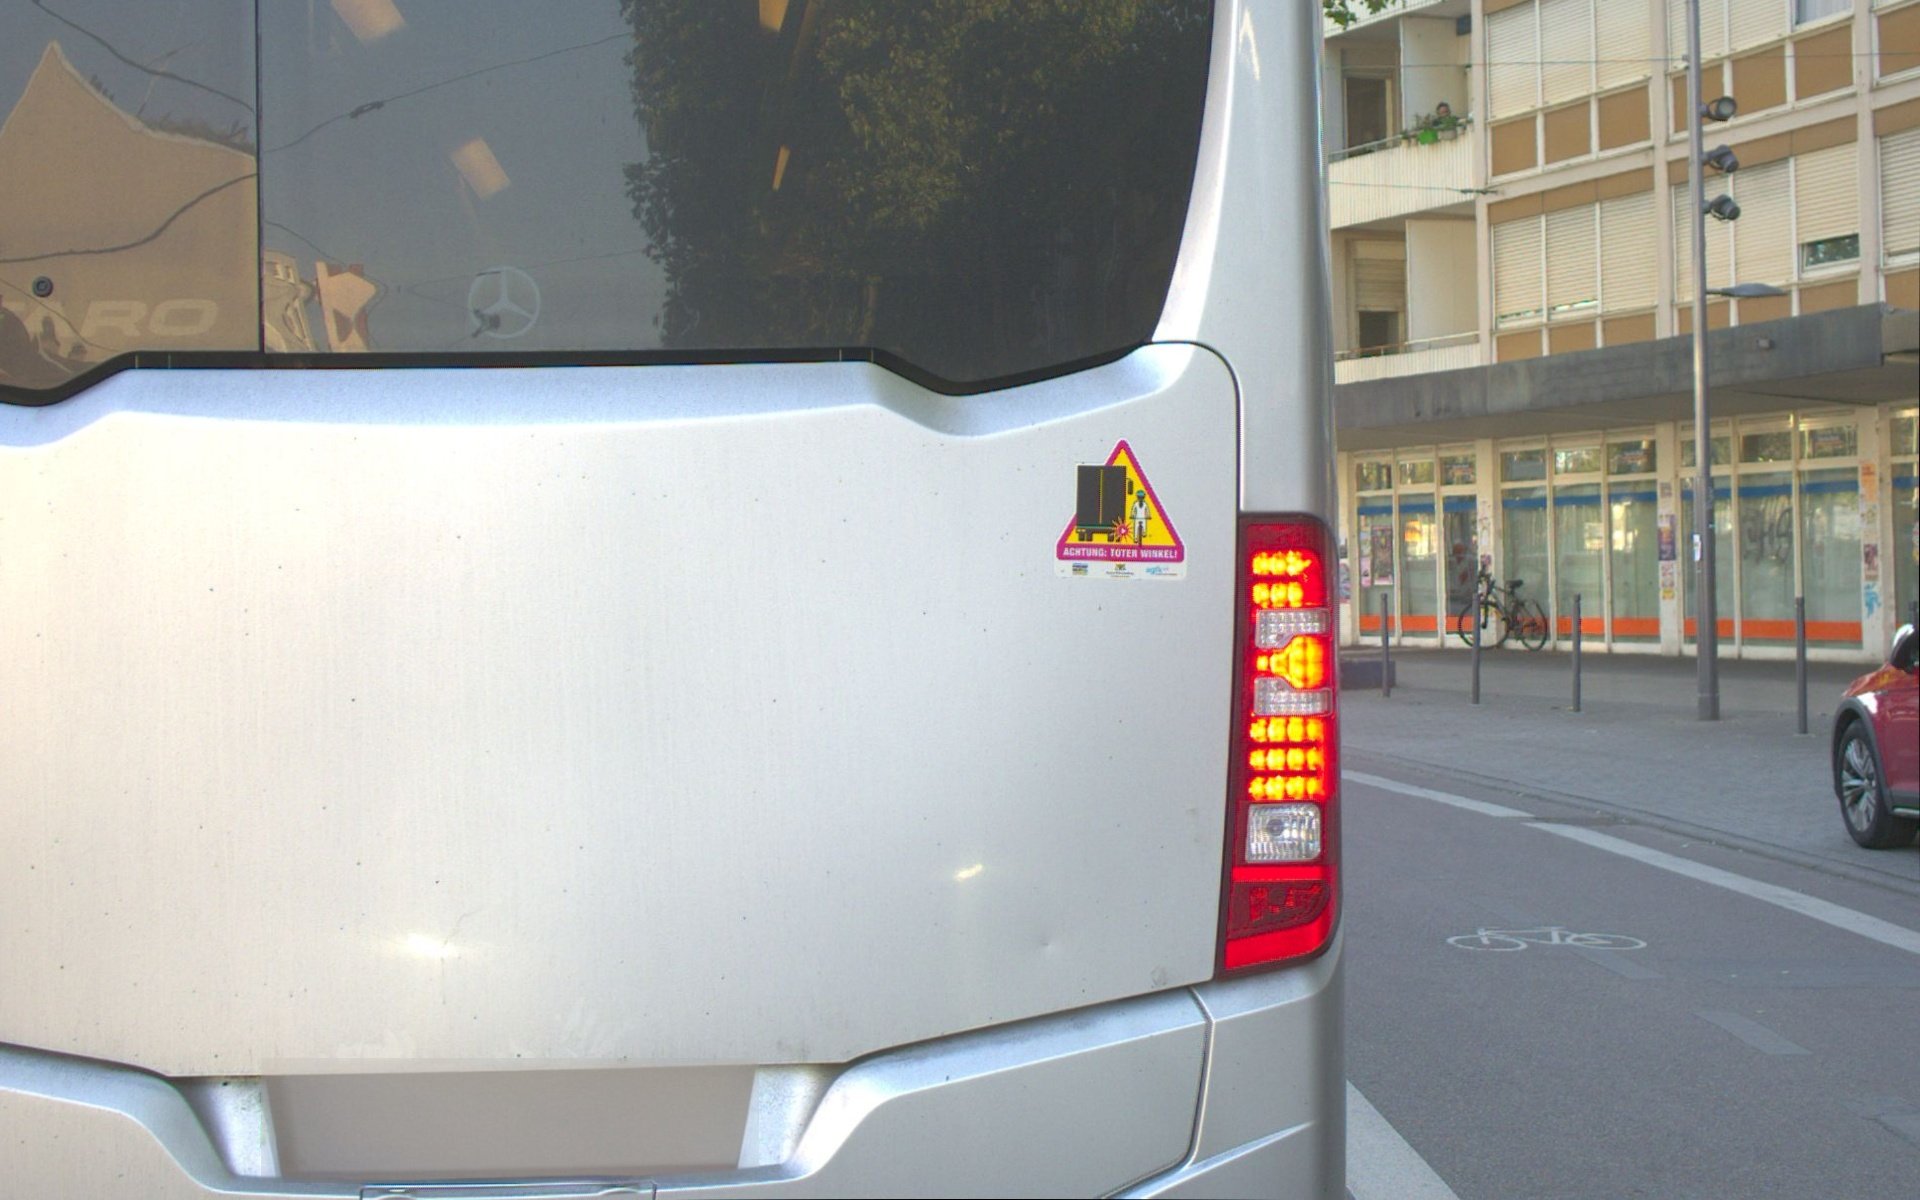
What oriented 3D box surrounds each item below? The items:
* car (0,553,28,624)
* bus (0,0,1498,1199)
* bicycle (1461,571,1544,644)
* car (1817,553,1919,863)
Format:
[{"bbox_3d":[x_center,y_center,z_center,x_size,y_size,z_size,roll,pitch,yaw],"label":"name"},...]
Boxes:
[{"bbox_3d":[-25.677,-0.301,87.942,1.994,1.785,3.998,1,0,-41],"label":"car"},{"bbox_3d":[-0.765,-0.144,9.790,2.630,3.017,9.998,0,1,-2],"label":"bus"},{"bbox_3d":[7.176,0.092,45.523,0.412,0.941,1.441,-1,1,-20],"label":"bicycle"},{"bbox_3d":[5.538,0.504,15.857,1.769,1.477,4.304,-2,1,-4],"label":"car"}]
